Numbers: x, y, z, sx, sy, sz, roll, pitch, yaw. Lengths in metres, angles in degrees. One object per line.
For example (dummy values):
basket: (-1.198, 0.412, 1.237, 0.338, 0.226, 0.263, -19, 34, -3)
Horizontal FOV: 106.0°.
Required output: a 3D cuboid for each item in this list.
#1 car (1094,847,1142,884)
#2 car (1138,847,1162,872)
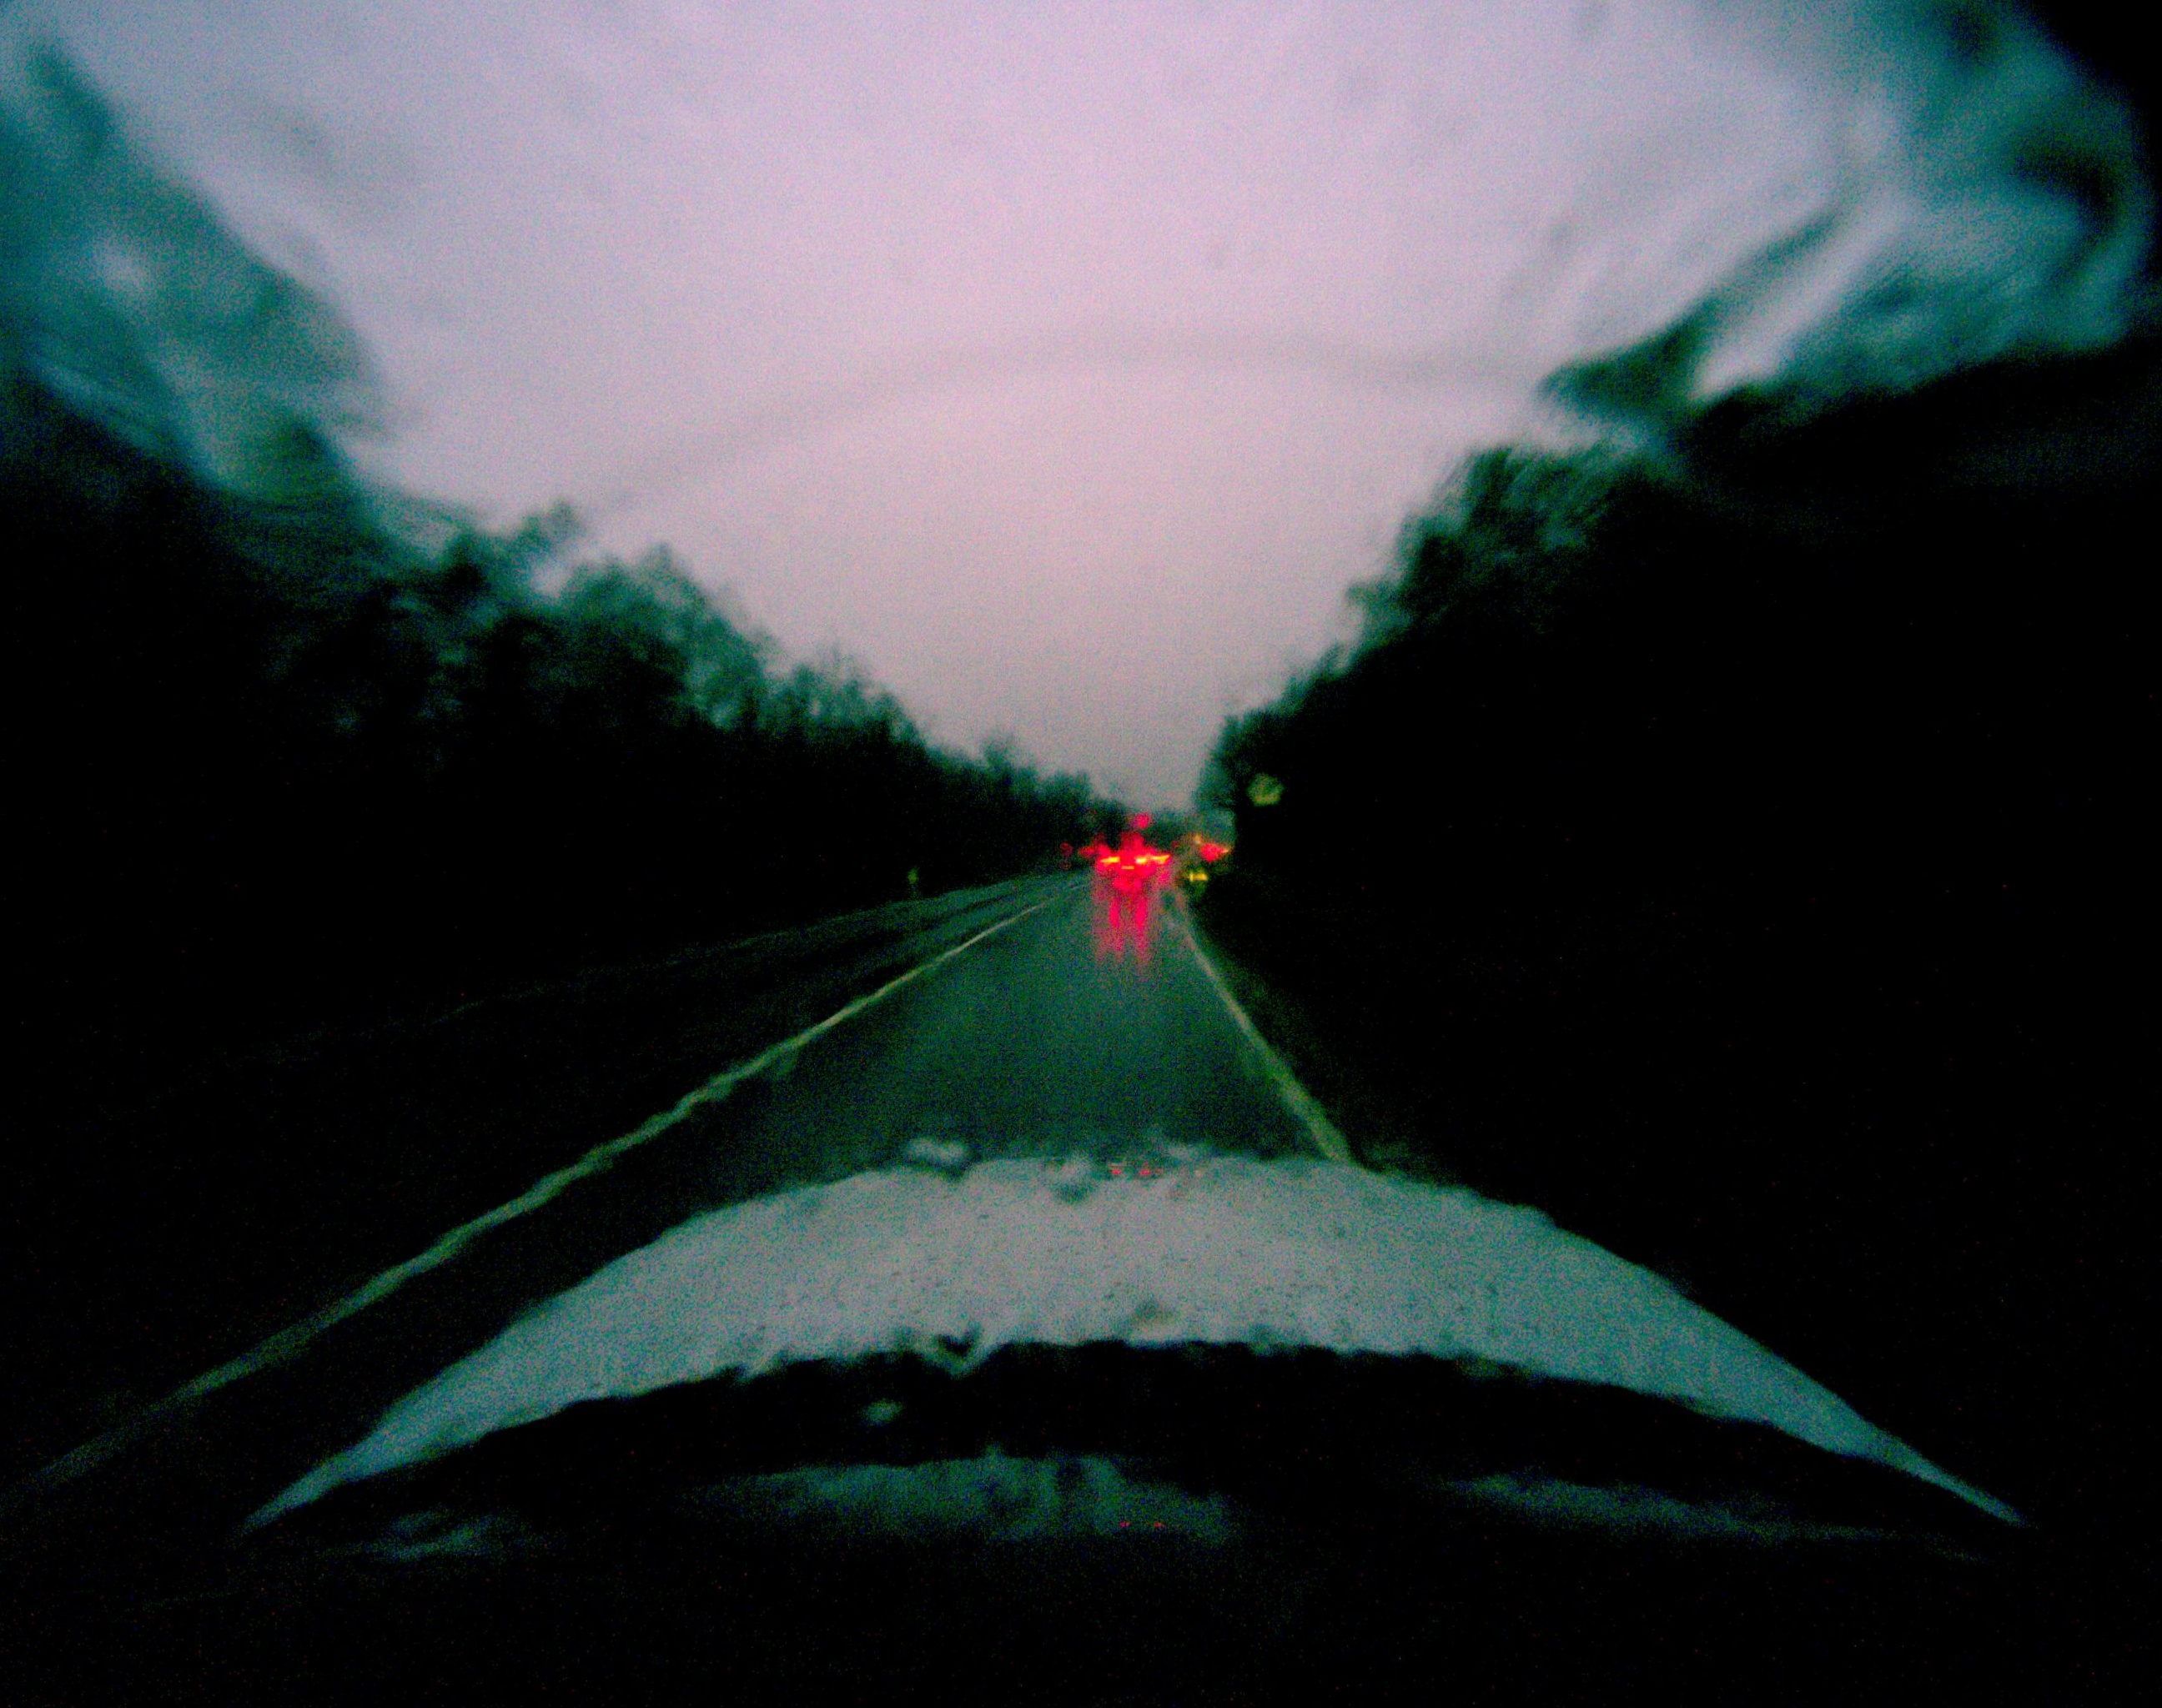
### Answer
car: (1.594, 0.445, 33.857, 1.670, 1.389, 4.106, -1, 0, 7)
car: (5.055, 0.380, 59.428, 1.671, 1.675, 4.104, -1, 0, 5)
